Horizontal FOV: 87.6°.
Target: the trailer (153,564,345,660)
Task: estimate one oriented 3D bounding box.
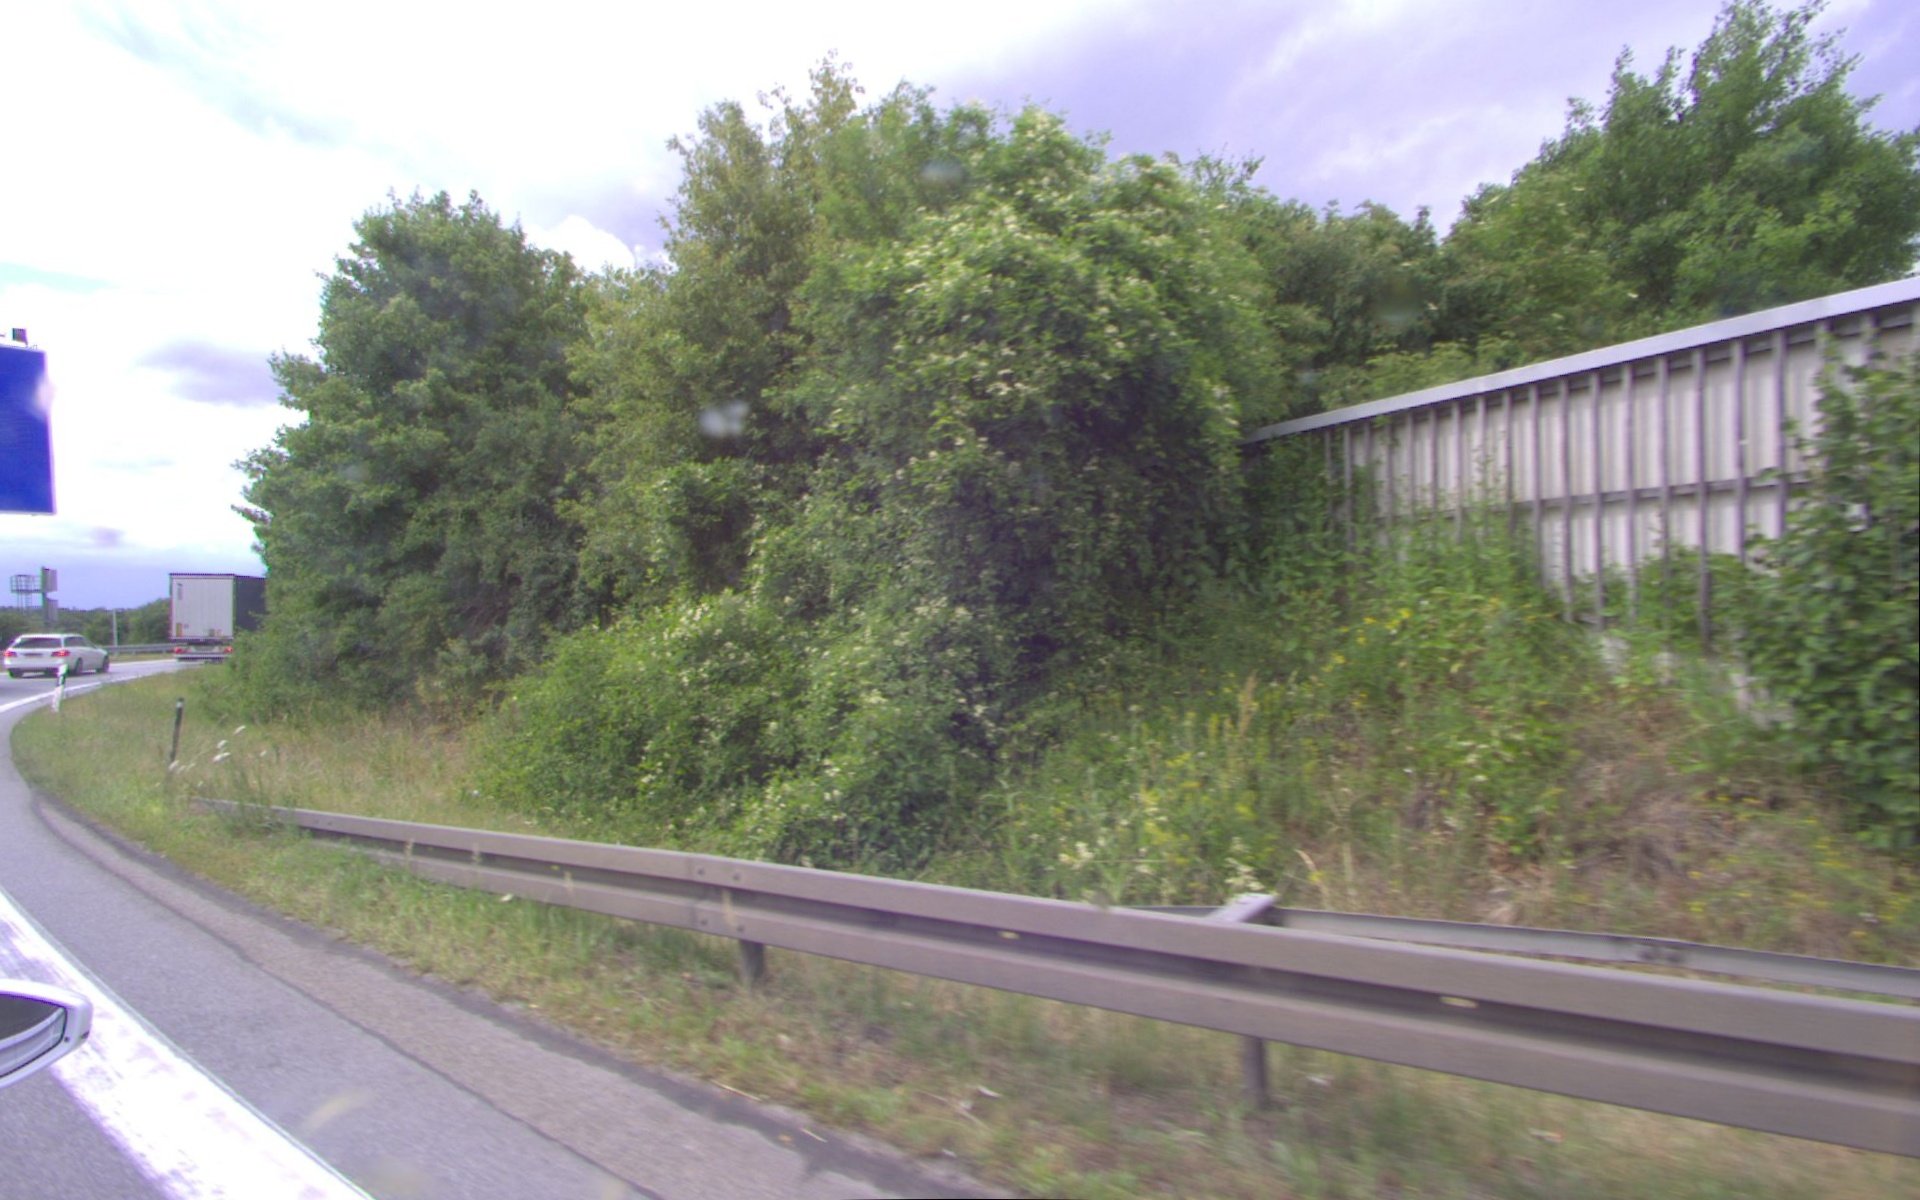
[{"bbox_3d":[-35.507,0.693,50.939,3.280,4.247,13.020,0,-1,-13],"label":"trailer"}]

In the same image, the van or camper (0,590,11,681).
[{"bbox_3d":[-27.455,0.978,26.579,2.271,2.602,6.121,0,-1,-34],"label":"van or camper"}]

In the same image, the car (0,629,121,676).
[{"bbox_3d":[-32.411,1.824,36.099,2.179,1.521,4.769,0,-1,-25],"label":"car"}]
